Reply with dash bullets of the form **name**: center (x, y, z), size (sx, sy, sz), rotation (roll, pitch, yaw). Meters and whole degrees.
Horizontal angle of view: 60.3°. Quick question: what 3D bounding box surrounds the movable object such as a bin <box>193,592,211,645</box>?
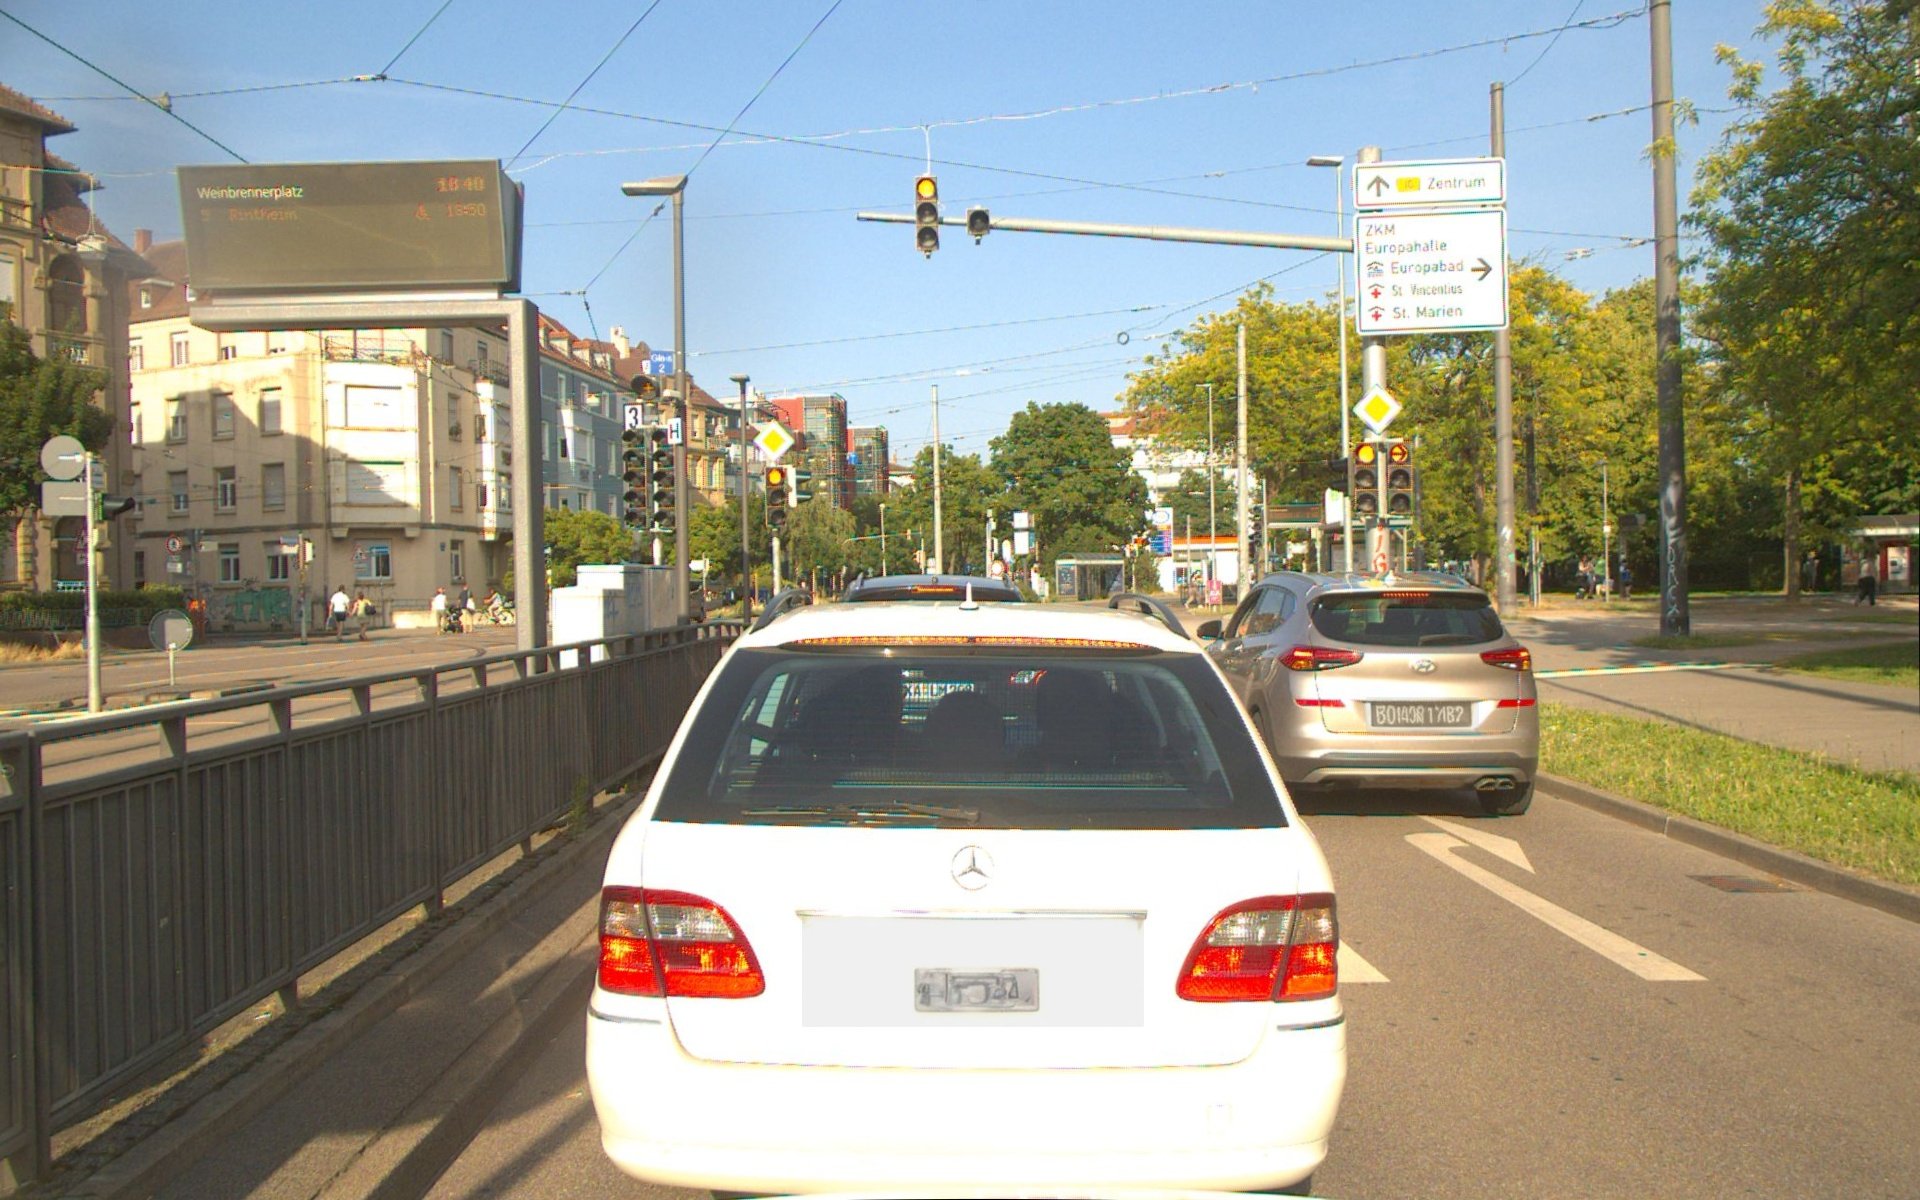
- **movable object such as a bin**: center (-25.467, 0.606, 55.558), size (0.261, 1.739, 2.357), rotation (-2, 1, -31)

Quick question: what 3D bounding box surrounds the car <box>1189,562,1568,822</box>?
- **car**: center (2.892, 0.563, 12.282), size (1.798, 1.628, 3.814), rotation (0, 0, -1)

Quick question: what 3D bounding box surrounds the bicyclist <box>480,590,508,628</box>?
- **bicyclist**: center (-19.988, 0.378, 70.880), size (1.027, 1.597, 0.656), rotation (-2, 0, -26)

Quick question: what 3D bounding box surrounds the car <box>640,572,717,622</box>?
- **car**: center (-12.269, -0.136, 72.455), size (2.100, 2.049, 5.389), rotation (-1, 0, 3)

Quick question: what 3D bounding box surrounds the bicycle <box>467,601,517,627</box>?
- **bicycle**: center (-20.058, 0.604, 70.866), size (1.963, 1.024, 0.737), rotation (-2, 0, -23)

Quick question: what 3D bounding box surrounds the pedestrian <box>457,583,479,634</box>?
- **pedestrian**: center (-18.887, 0.329, 63.491), size (0.573, 1.913, 0.626), rotation (-1, 4, -3)

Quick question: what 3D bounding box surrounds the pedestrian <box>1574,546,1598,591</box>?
- **pedestrian**: center (24.249, -1.220, 64.100), size (0.628, 1.694, 0.690), rotation (-1, 0, -1)

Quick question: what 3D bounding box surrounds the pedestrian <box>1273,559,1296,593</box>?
- **pedestrian**: center (15.943, -1.172, 81.271), size (0.985, 1.619, 0.866), rotation (-1, 0, 18)

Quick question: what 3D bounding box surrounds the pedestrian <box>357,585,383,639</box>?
- **pedestrian**: center (-20.802, 0.404, 58.302), size (0.661, 1.880, 0.649), rotation (-1, 0, -3)

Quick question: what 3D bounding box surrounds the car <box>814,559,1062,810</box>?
- **car**: center (-0.170, 0.536, 12.659), size (1.608, 1.628, 3.814), rotation (0, 0, -1)

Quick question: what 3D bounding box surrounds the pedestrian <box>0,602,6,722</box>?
- **pedestrian**: center (-13.229, 0.844, 22.056), size (0.578, 1.617, 0.715), rotation (-1, 0, -5)

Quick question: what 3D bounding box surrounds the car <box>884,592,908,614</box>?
- **car**: center (-5.025, 0.256, 130.142), size (1.642, 1.552, 4.125), rotation (-1, 2, 0)

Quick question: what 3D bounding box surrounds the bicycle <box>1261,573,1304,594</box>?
- **bicycle**: center (15.842, -0.828, 81.311), size (1.975, 0.963, 0.880), rotation (-1, 0, 19)

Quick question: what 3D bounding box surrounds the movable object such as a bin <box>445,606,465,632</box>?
- **movable object such as a bin**: center (-19.601, 0.729, 64.232), size (0.571, 0.963, 0.663), rotation (-1, 0, -2)

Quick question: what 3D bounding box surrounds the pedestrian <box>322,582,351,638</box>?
- **pedestrian**: center (-21.889, 0.348, 58.084), size (0.644, 1.913, 0.627), rotation (-1, 0, 14)

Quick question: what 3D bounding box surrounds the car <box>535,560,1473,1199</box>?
- **car**: center (0.062, 0.675, 5.082), size (1.798, 1.527, 3.814), rotation (0, 0, -1)

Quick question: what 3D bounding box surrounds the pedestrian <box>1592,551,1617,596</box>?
- **pedestrian**: center (24.520, -1.021, 62.931), size (0.628, 1.694, 0.690), rotation (-1, 0, -1)

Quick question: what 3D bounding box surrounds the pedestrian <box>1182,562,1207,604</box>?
- **pedestrian**: center (11.680, -0.843, 82.431), size (0.976, 2.049, 0.827), rotation (-1, 0, 27)

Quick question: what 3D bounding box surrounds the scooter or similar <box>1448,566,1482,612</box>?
- **scooter or similar**: center (13.935, -0.304, 45.659), size (0.345, 1.253, 1.131), rotation (-1, 0, -15)

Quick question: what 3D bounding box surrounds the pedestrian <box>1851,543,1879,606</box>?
- **pedestrian**: center (27.410, -0.765, 50.088), size (0.457, 1.900, 0.598), rotation (1, -1, -37)

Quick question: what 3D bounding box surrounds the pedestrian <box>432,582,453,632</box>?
- **pedestrian**: center (-19.820, 0.262, 63.348), size (0.572, 1.913, 0.627), rotation (-1, 0, 1)
